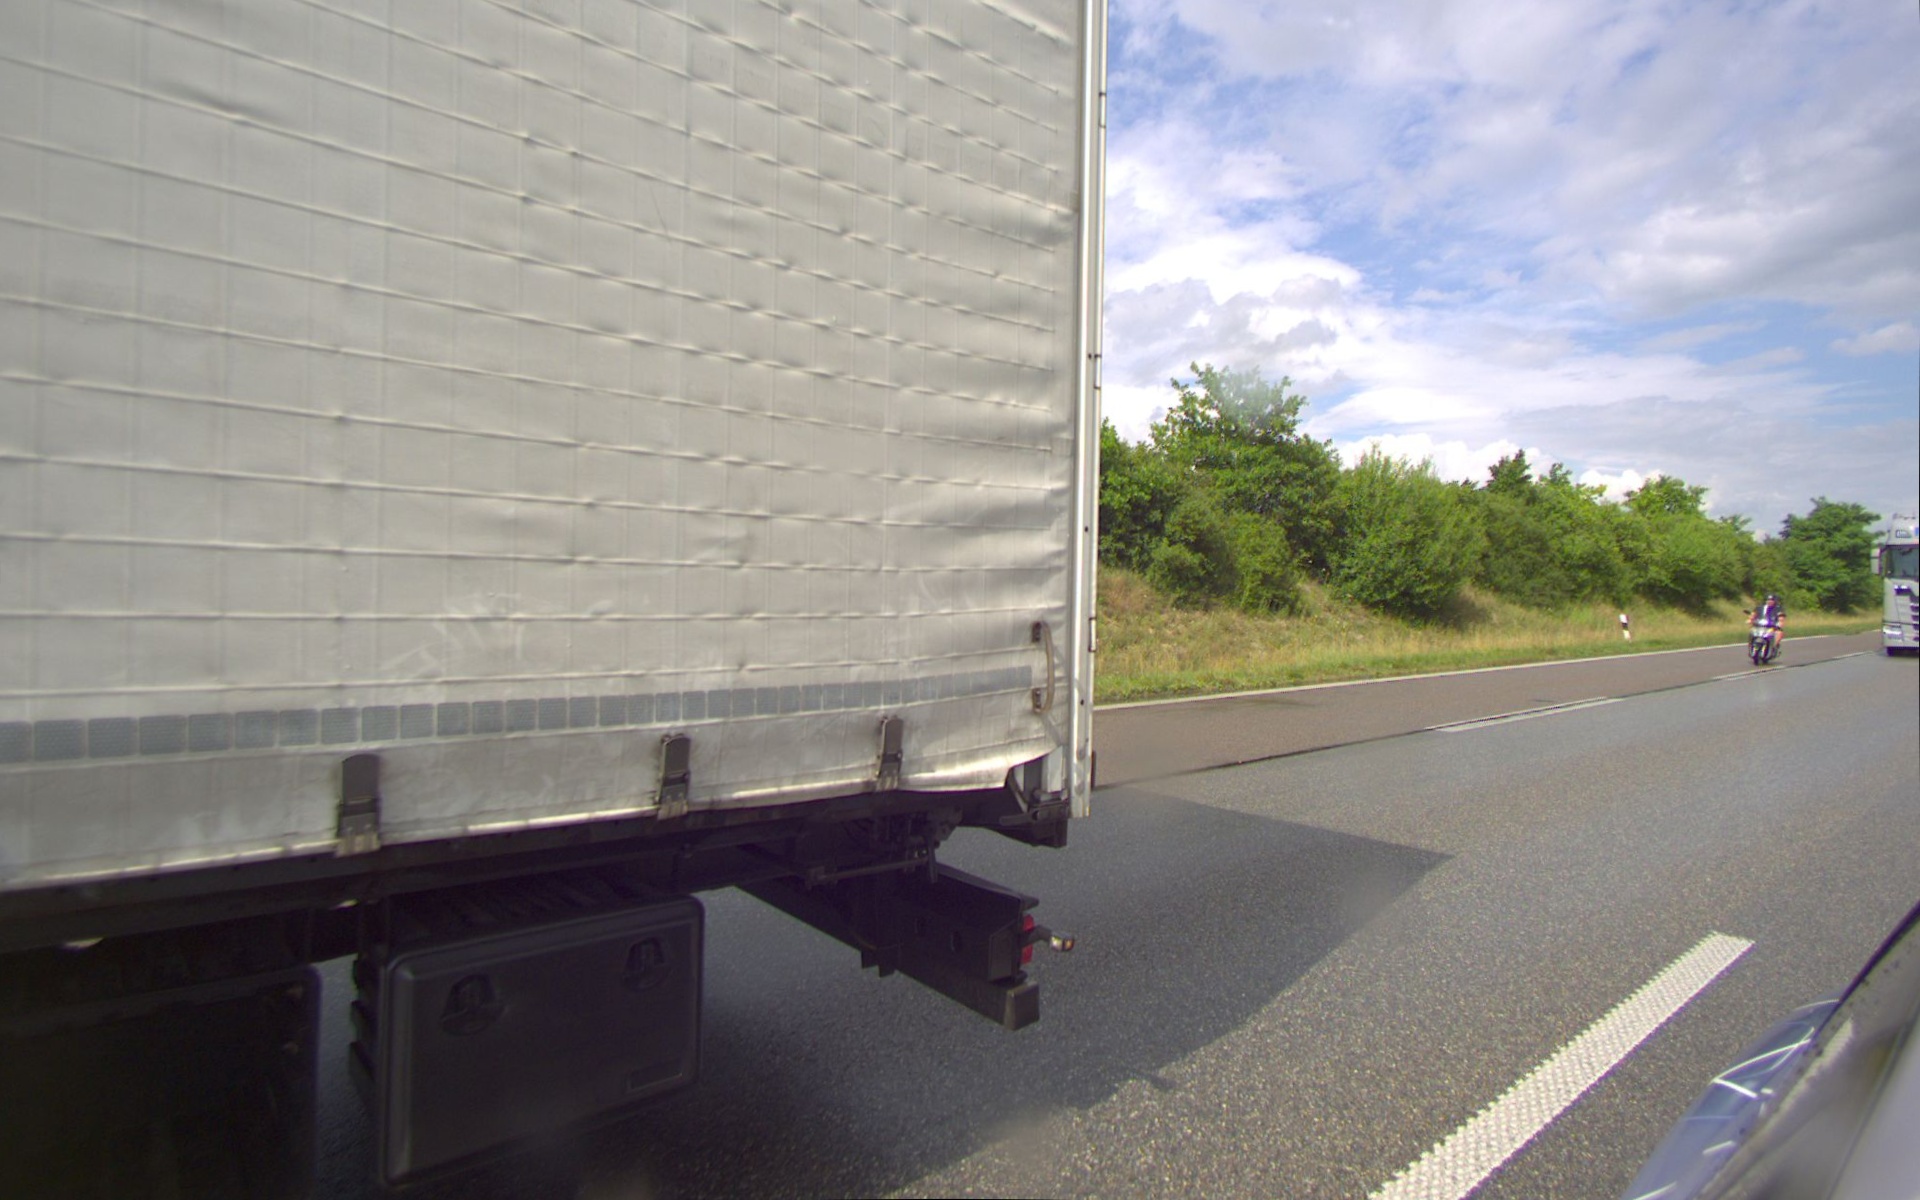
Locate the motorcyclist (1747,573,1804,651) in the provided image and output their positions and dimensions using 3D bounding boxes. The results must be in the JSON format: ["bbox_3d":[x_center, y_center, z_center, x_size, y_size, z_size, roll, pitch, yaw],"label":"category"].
[{"bbox_3d":[18.586,0.261,23.065,0.984,1.728,0.882,0,0,-42],"label":"motorcyclist"}]

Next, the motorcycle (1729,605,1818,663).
[{"bbox_3d":[18.564,0.733,23.058,3.141,1.163,1.186,-1,1,-43],"label":"motorcycle"}]

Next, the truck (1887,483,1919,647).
[{"bbox_3d":[28.173,-0.949,28.455,6.770,4.328,2.646,-1,0,-43],"label":"truck"}]
